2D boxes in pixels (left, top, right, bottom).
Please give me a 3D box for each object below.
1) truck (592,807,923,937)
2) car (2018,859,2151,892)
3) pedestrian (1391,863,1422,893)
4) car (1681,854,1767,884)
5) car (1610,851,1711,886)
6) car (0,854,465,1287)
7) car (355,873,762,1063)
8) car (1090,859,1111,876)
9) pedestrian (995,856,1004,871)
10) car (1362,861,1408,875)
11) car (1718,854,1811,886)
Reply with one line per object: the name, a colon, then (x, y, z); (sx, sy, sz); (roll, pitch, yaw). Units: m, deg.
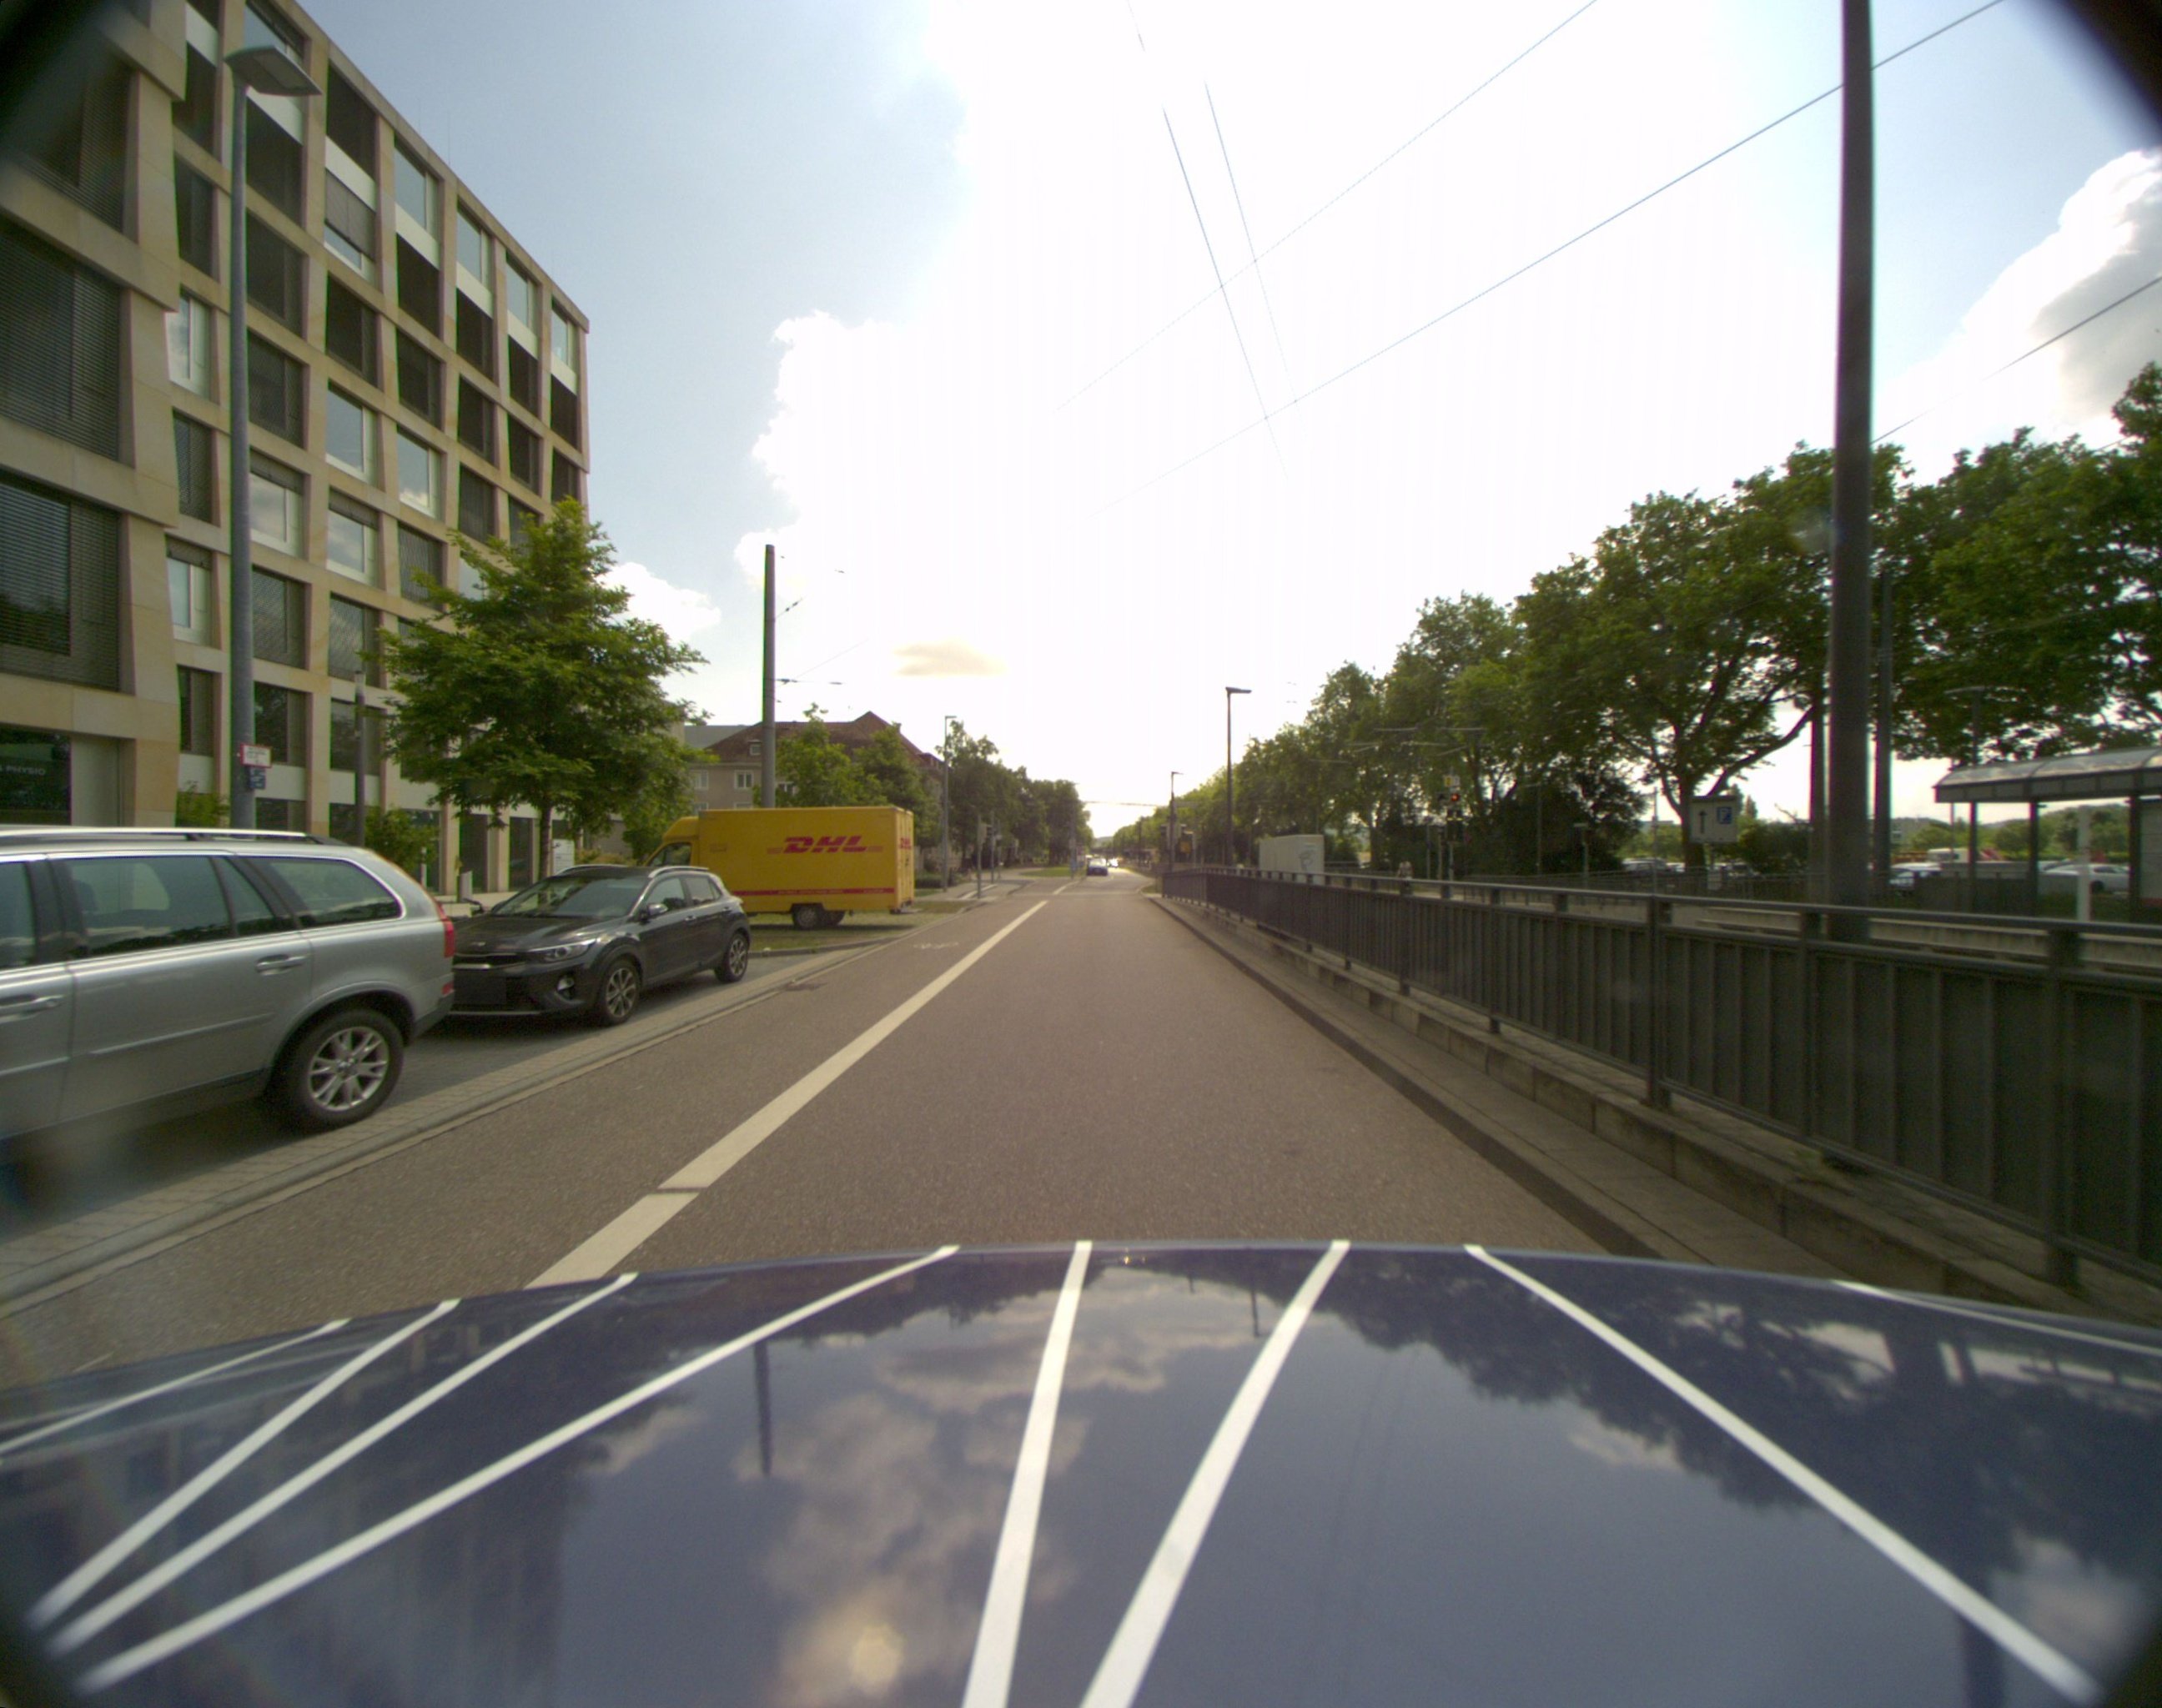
truck: (-7.418, 0.403, 18.106); (6.824, 2.850, 2.454); (0, 1, -2)
car: (48.500, 1.031, 36.788); (3.996, 1.419, 1.778); (-2, 0, 2)
pedestrian: (14.932, 1.099, 34.895); (0.866, 1.335, 0.920); (1, 1, -32)
car: (43.580, 0.985, 51.543); (4.108, 1.888, 1.999); (2, 1, -2)
car: (32.672, 0.807, 42.912); (4.107, 1.821, 2.000); (2, 1, 2)
car: (-5.293, 0.884, 2.982); (1.773, 1.757, 4.840); (0, 0, 1)
car: (-5.270, 1.019, 8.456); (1.695, 1.496, 4.068); (0, 0, 1)
car: (1.812, 1.267, 73.053); (1.784, 1.531, 4.420); (2, 0, -1)
pedestrian: (-9.109, 1.031, 84.779); (0.622, 1.598, 0.626); (2, 1, 38)
car: (31.781, 1.478, 79.568); (3.997, 1.433, 2.000); (0, 0, 1)
car: (43.683, 1.001, 48.621); (4.108, 1.888, 1.999); (2, 1, -2)
